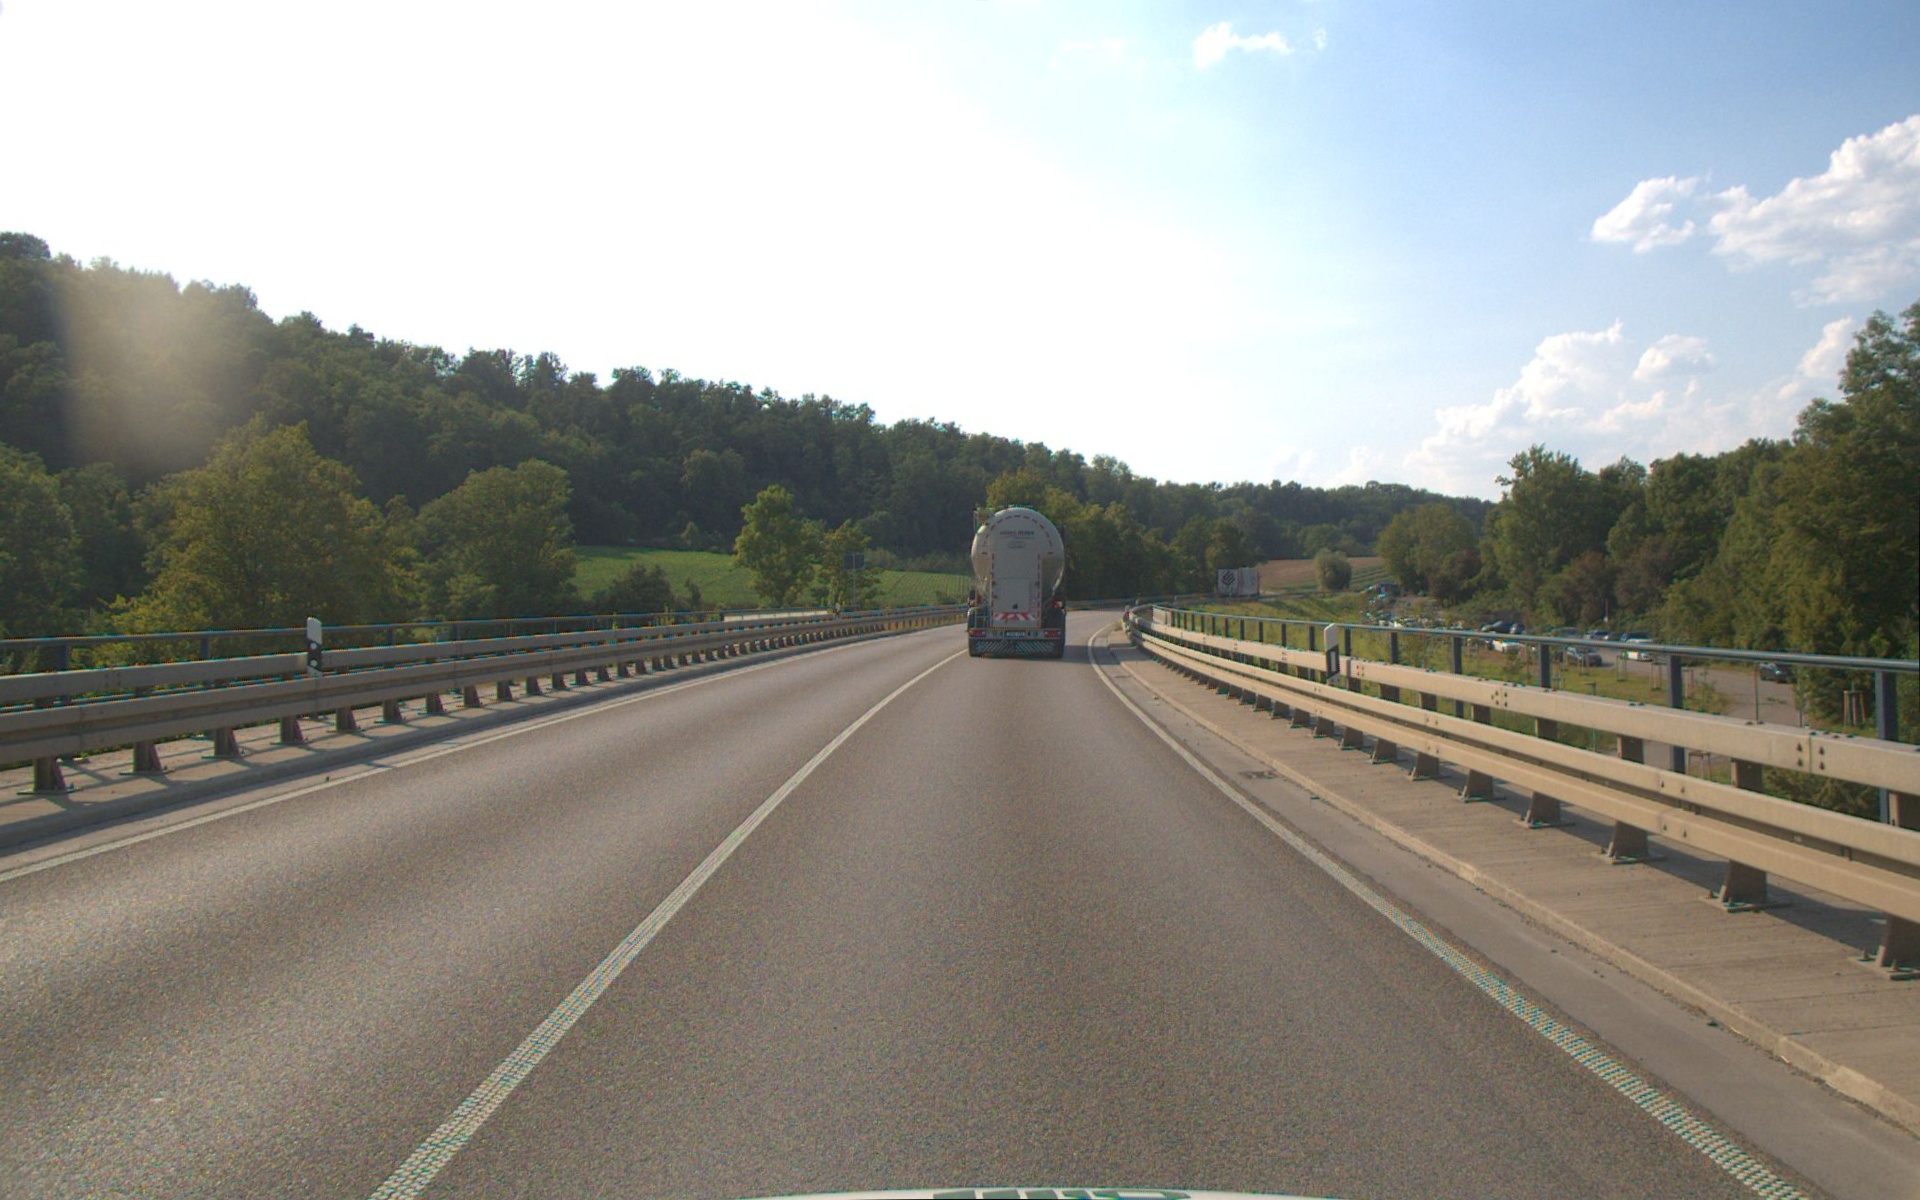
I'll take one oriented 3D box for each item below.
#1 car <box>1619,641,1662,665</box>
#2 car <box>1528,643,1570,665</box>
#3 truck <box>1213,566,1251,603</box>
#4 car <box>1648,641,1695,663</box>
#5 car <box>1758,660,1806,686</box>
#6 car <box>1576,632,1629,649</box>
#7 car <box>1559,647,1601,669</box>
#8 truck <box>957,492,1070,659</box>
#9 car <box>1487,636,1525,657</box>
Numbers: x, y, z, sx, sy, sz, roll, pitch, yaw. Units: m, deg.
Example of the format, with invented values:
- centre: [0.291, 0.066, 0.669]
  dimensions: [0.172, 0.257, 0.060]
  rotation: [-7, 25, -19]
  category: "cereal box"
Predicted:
- centre: [53.093, 4.100, 129.125]
  dimensions: [1.620, 1.695, 4.709]
  rotation: [0, 0, 2]
  category: "car"
- centre: [47.862, 4.366, 134.462]
  dimensions: [1.781, 1.425, 4.255]
  rotation: [-2, 1, -3]
  category: "car"
- centre: [32.792, -1.949, 199.243]
  dimensions: [3.116, 4.301, 13.183]
  rotation: [0, 1, 15]
  category: "truck"
- centre: [52.858, 3.869, 122.885]
  dimensions: [1.621, 1.523, 4.222]
  rotation: [0, 0, -1]
  category: "car"
- centre: [51.988, 4.605, 104.663]
  dimensions: [1.619, 1.523, 3.832]
  rotation: [0, 0, 8]
  category: "car"
- centre: [59.410, 3.771, 152.884]
  dimensions: [4.319, 1.481, 1.731]
  rotation: [0, 1, -9]
  category: "car"
- centre: [47.948, 4.483, 127.971]
  dimensions: [1.621, 1.523, 4.222]
  rotation: [0, 0, -1]
  category: "car"
- centre: [1.653, -0.630, 48.811]
  dimensions: [2.832, 4.215, 13.176]
  rotation: [1, 0, 3]
  category: "truck"
- centre: [48.299, 4.096, 146.361]
  dimensions: [1.781, 1.508, 4.255]
  rotation: [-2, 1, -3]
  category: "car"
